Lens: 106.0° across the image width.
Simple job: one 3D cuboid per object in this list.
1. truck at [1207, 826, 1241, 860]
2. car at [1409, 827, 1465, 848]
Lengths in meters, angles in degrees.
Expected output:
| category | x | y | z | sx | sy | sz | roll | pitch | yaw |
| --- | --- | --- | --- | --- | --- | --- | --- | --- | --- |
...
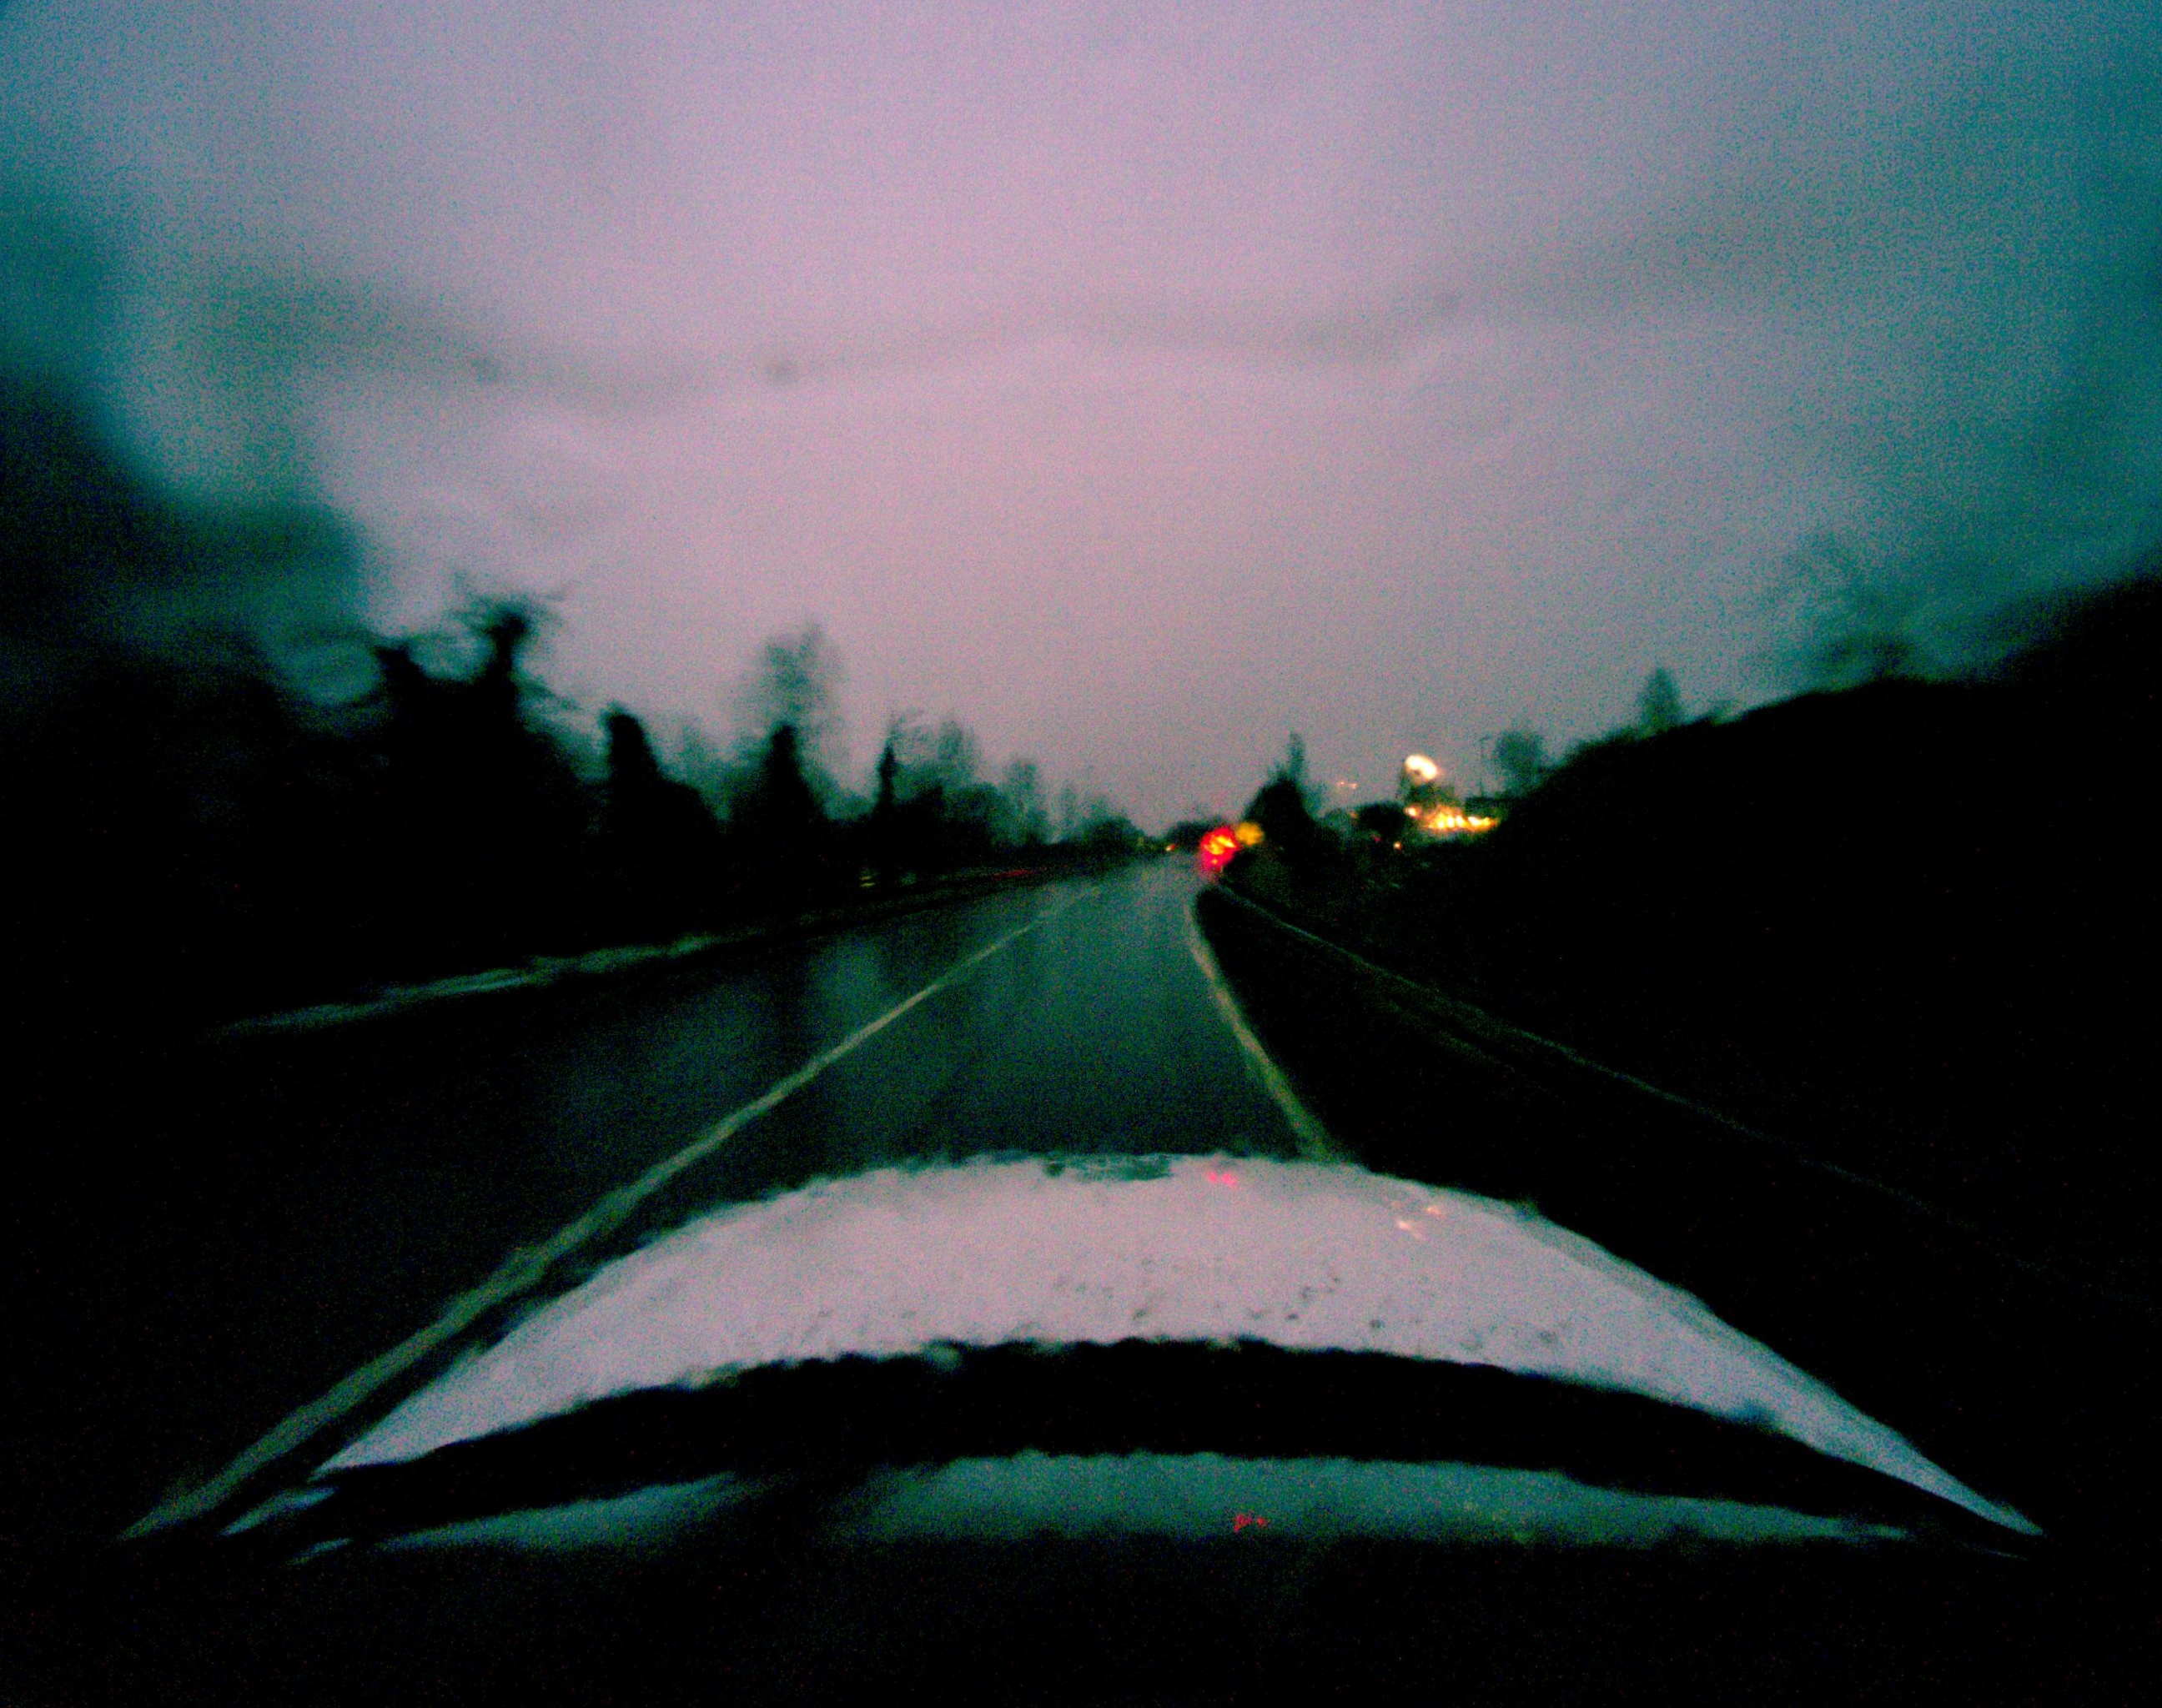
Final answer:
| category | x | y | z | sx | sy | sz | roll | pitch | yaw |
| --- | --- | --- | --- | --- | --- | --- | --- | --- | --- |
| truck | 13.934 | -1.084 | 79.080 | 2.514 | 2.869 | 5.945 | -6 | 0 | 14 |
| car | 31.546 | -1.473 | 72.211 | 4.113 | 1.422 | 1.662 | -6 | 0 | 0 |
